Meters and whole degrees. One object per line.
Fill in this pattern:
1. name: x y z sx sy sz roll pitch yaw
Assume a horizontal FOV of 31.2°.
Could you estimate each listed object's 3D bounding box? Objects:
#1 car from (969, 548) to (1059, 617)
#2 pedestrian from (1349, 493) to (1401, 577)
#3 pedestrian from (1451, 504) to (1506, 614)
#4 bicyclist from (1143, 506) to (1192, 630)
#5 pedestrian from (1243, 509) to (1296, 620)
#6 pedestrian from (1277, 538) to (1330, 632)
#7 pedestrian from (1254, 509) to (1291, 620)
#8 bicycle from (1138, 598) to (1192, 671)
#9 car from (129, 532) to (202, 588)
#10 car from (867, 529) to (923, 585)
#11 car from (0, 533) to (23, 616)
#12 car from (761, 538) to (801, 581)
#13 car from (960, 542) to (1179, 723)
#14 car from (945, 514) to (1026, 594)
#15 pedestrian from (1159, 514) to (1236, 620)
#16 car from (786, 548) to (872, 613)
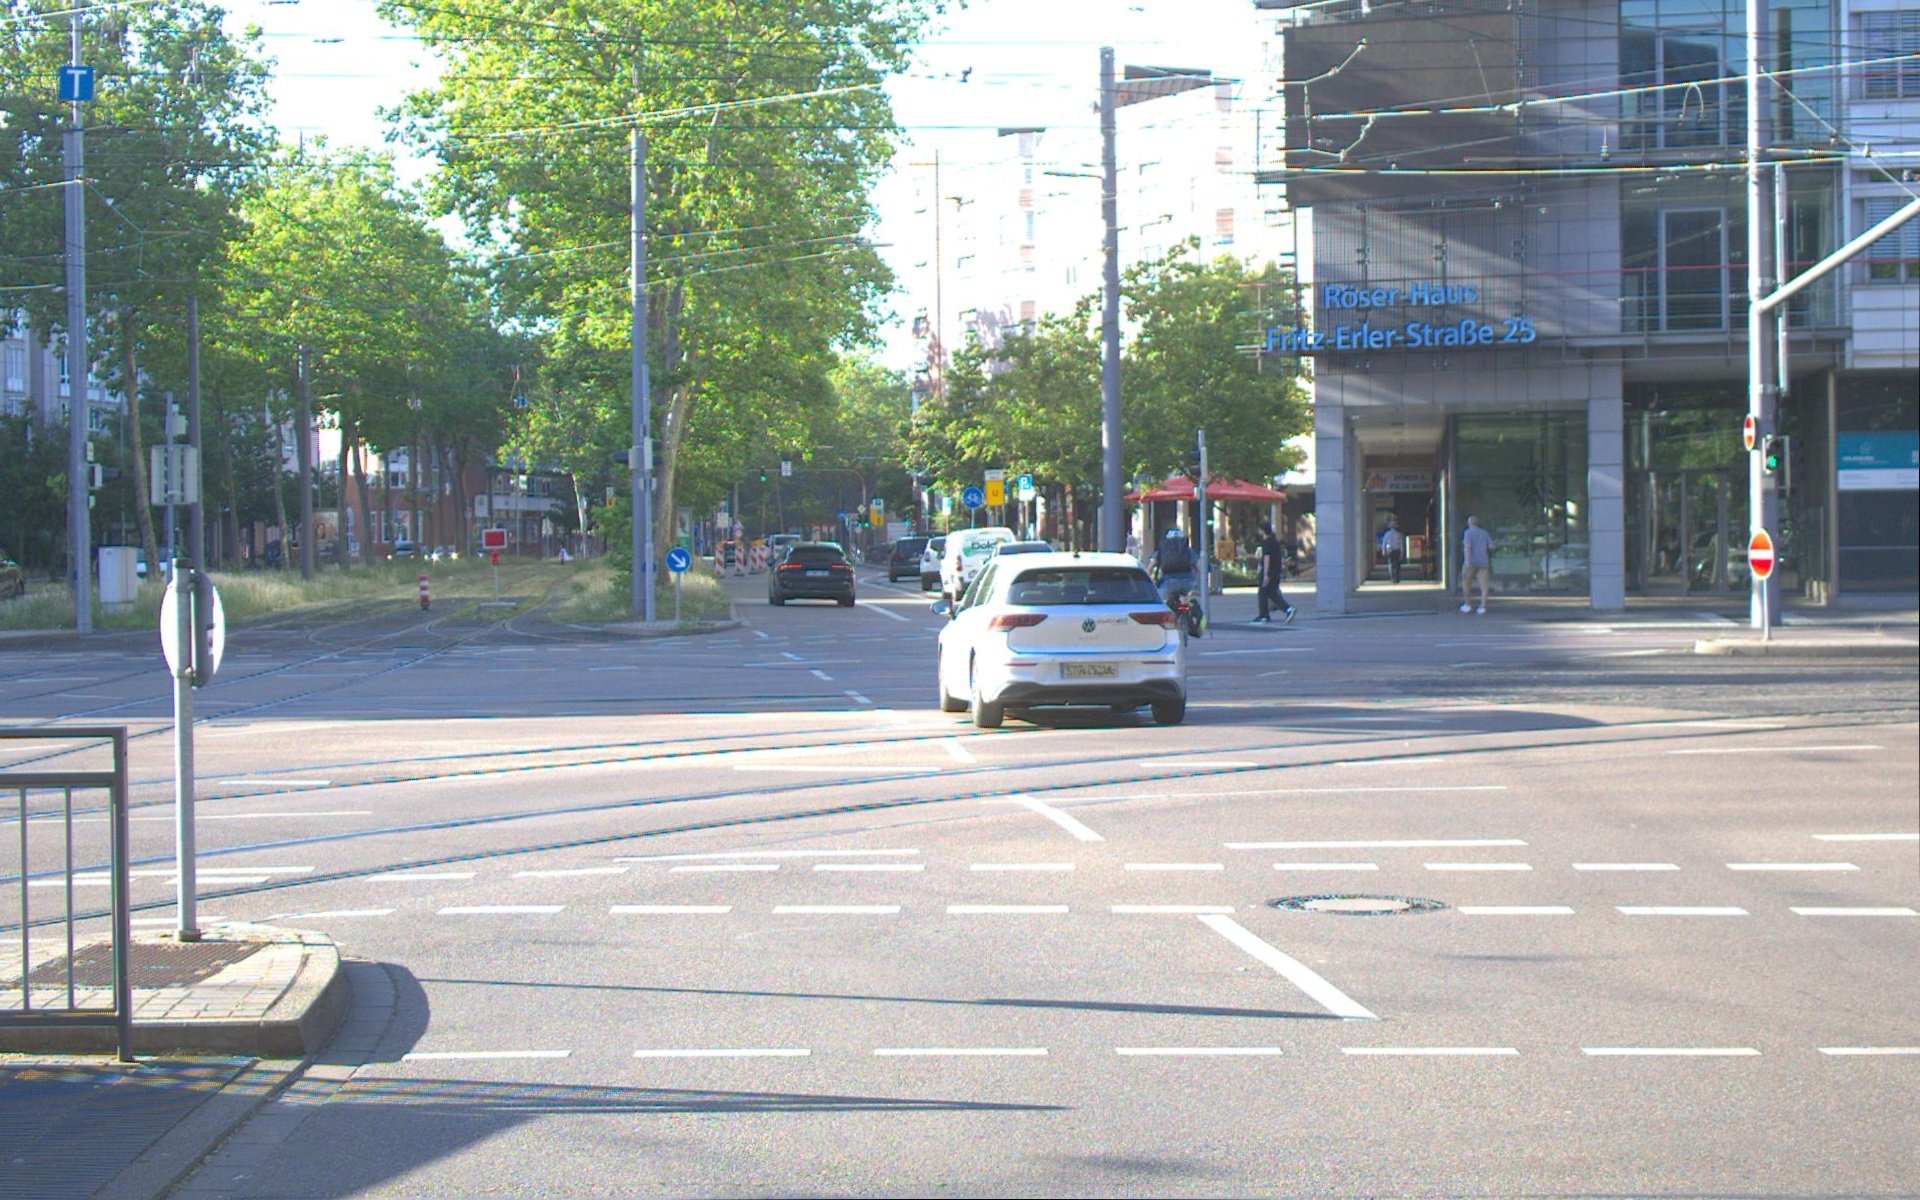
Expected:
1. car: 1.273 -0.441 82.684 2.029 1.590 4.000 1 1 -1
2. pedestrian: 10.930 -1.695 90.549 1.313 2.182 1.170 1 0 6
3. pedestrian: 9.614 -0.752 63.756 0.869 2.007 0.794 1 -1 -1
4. bicyclist: 2.430 -0.377 40.300 0.486 1.434 0.615 2 1 -1
5. pedestrian: 5.628 -0.645 62.563 0.849 2.007 0.708 1 0 -1
6. pedestrian: 6.337 -0.277 63.440 0.869 1.702 0.794 1 0 -1
7. pedestrian: 5.682 -0.642 62.501 0.586 2.007 0.620 1 0 0
8. bicycle: 2.408 0.397 40.466 0.490 0.785 1.862 0 1 -1
9. car: -23.807 -1.197 103.143 1.676 1.601 4.001 1 1 -6
10. car: -2.391 -1.580 126.786 1.993 2.007 4.000 1 1 -1
11. car: -21.691 -0.559 74.997 1.822 1.784 4.001 -1 1 -7
12. car: -10.180 -2.276 195.452 1.993 2.007 3.999 1 -6 1
13. car: 0.923 0.225 29.494 1.748 1.413 4.000 0 1 1
14. car: 0.646 -1.202 89.627 1.993 2.007 4.000 1 1 -1
15. pedestrian: 4.449 -0.618 64.432 1.342 1.944 1.011 -1 0 -1
16. car: -2.947 -0.456 76.770 1.763 1.399 4.297 0 1 -4
